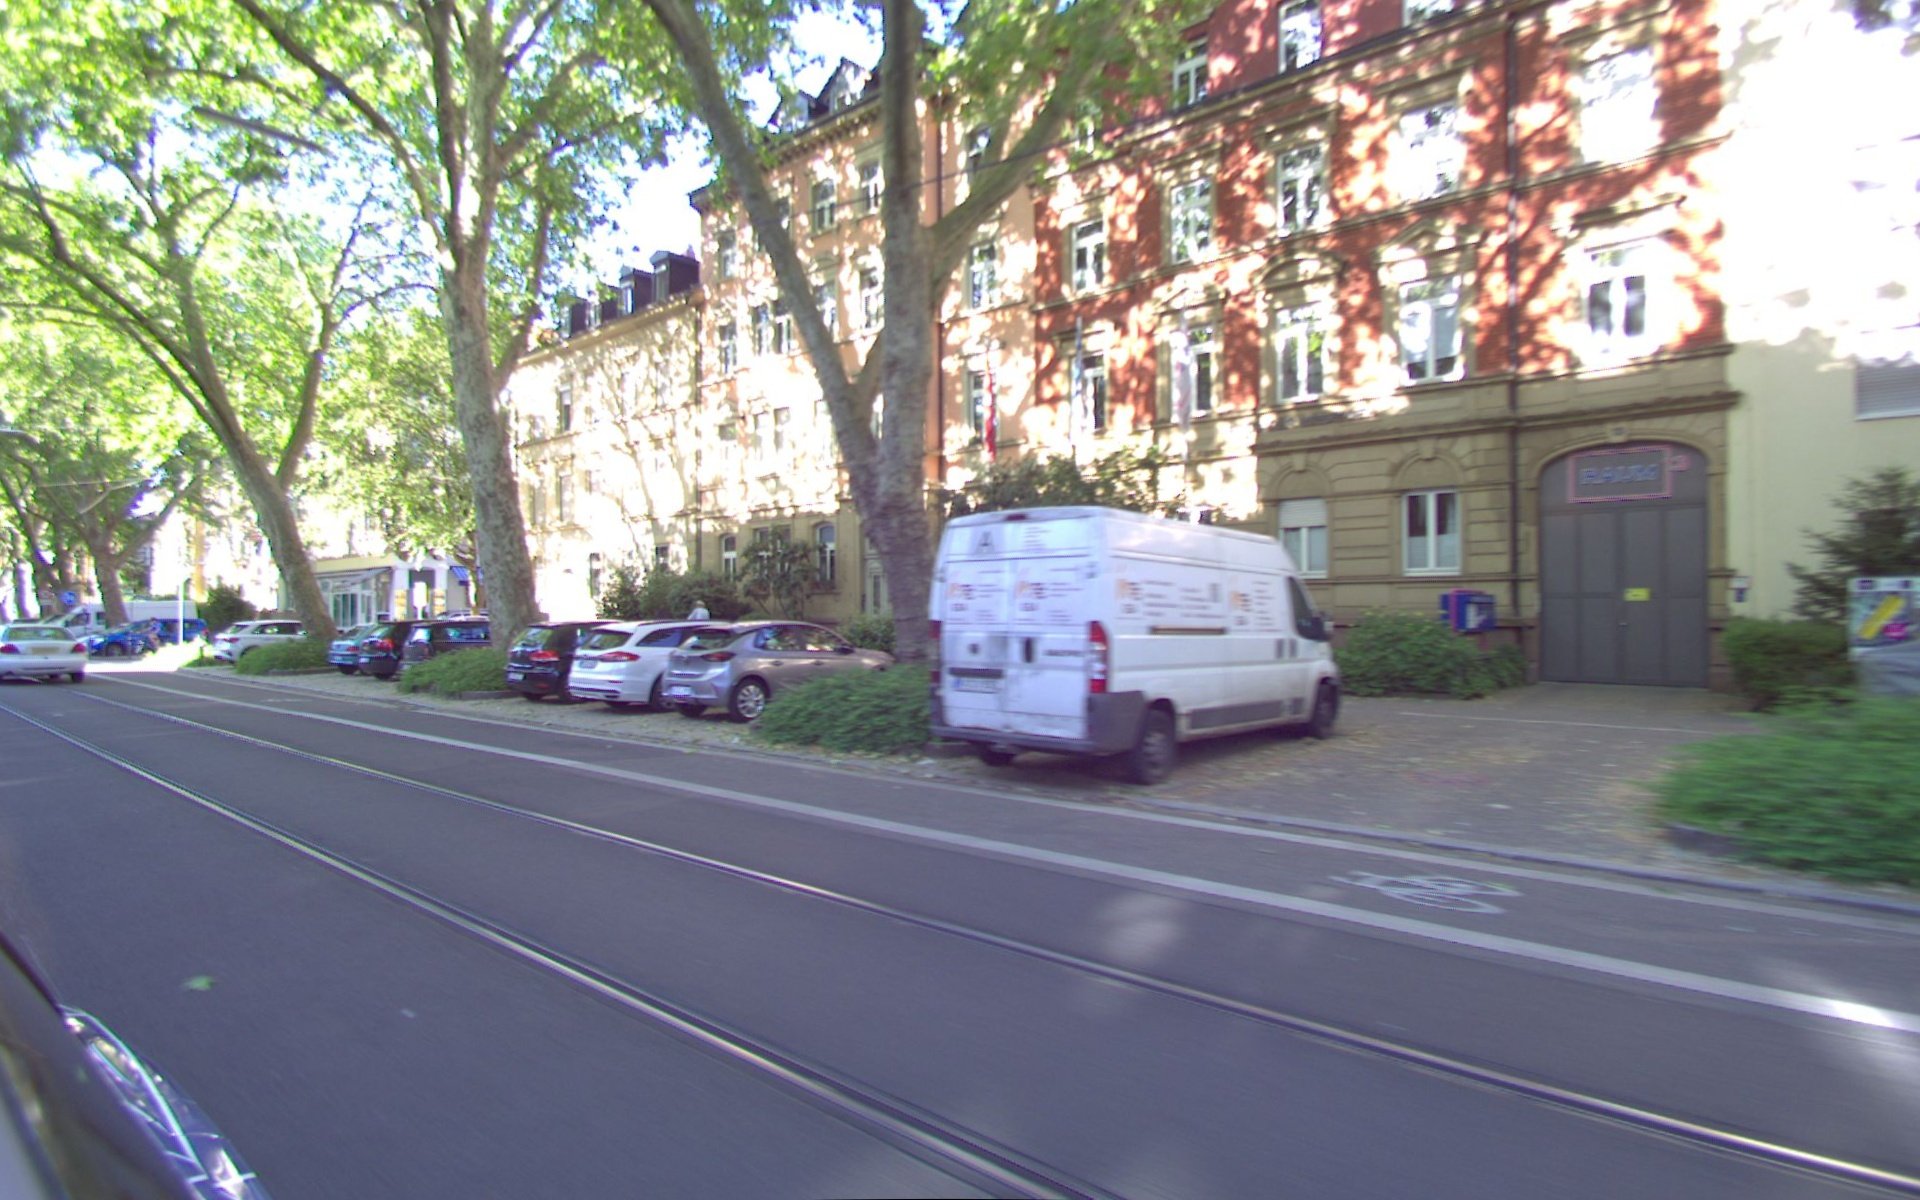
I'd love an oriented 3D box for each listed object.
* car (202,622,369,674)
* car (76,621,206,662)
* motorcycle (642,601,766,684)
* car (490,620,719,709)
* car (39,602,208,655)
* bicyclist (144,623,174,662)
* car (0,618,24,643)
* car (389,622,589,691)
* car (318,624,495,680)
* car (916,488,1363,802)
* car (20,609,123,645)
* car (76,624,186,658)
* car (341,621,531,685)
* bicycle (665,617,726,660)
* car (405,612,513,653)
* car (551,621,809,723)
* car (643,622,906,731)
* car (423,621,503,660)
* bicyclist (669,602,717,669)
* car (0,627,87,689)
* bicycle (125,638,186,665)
[{"bbox_3d":[-20.816,1.440,31.346,1.878,1.471,3.946,-1,-1,40],"label":"car"},{"bbox_3d":[-37.044,1.847,45.861,1.814,1.725,4.278,-1,-1,38],"label":"car"},{"bbox_3d":[-5.546,0.868,21.781,3.010,1.643,1.041,0,1,41],"label":"motorcycle"},{"bbox_3d":[-6.617,1.135,19.112,1.704,1.471,3.753,-1,-1,42],"label":"car"},{"bbox_3d":[-43.479,1.407,52.808,1.999,2.426,6.533,-2,0,41],"label":"car"},{"bbox_3d":[-32.214,1.689,40.693,0.854,1.538,0.739,0,-2,-31],"label":"bicyclist"},{"bbox_3d":[-65.795,2.126,67.842,1.999,1.625,4.309,-2,0,41],"label":"car"},{"bbox_3d":[-11.021,1.262,23.874,1.704,1.471,3.943,-1,-1,43],"label":"car"},{"bbox_3d":[-15.012,1.366,27.643,1.602,1.379,3.952,-1,-1,35],"label":"car"},{"bbox_3d":[2.276,0.374,11.097,2.161,2.555,5.680,-2,-1,41],"label":"car"},{"bbox_3d":[-54.594,1.638,62.234,1.922,1.922,4.575,-2,0,44],"label":"car"},{"bbox_3d":[-38.988,1.901,47.678,1.746,1.529,3.733,-1,-1,38],"label":"car"},{"bbox_3d":[-13.192,1.279,25.687,1.764,1.471,3.956,-1,-1,32],"label":"car"},{"bbox_3d":[-7.244,1.044,27.678,1.779,1.147,0.734,-1,-1,41],"label":"bicycle"},{"bbox_3d":[-25.492,1.596,51.611,4.517,1.894,2.132,1,1,-42],"label":"car"},{"bbox_3d":[-4.705,1.132,17.397,1.830,1.507,3.944,-1,-1,42],"label":"car"},{"bbox_3d":[-2.785,1.084,15.745,1.704,1.443,3.767,-1,-1,43],"label":"car"},{"bbox_3d":[-19.990,1.597,40.653,3.485,1.471,1.583,-1,-1,39],"label":"car"},{"bbox_3d":[-7.301,0.958,27.647,1.048,1.776,0.822,-1,-1,41],"label":"bicyclist"},{"bbox_3d":[-22.734,1.348,24.559,4.467,1.369,1.700,-1,-1,41],"label":"car"},{"bbox_3d":[-32.252,2.064,40.618,1.845,1.039,0.630,0,-1,-33],"label":"bicycle"}]
